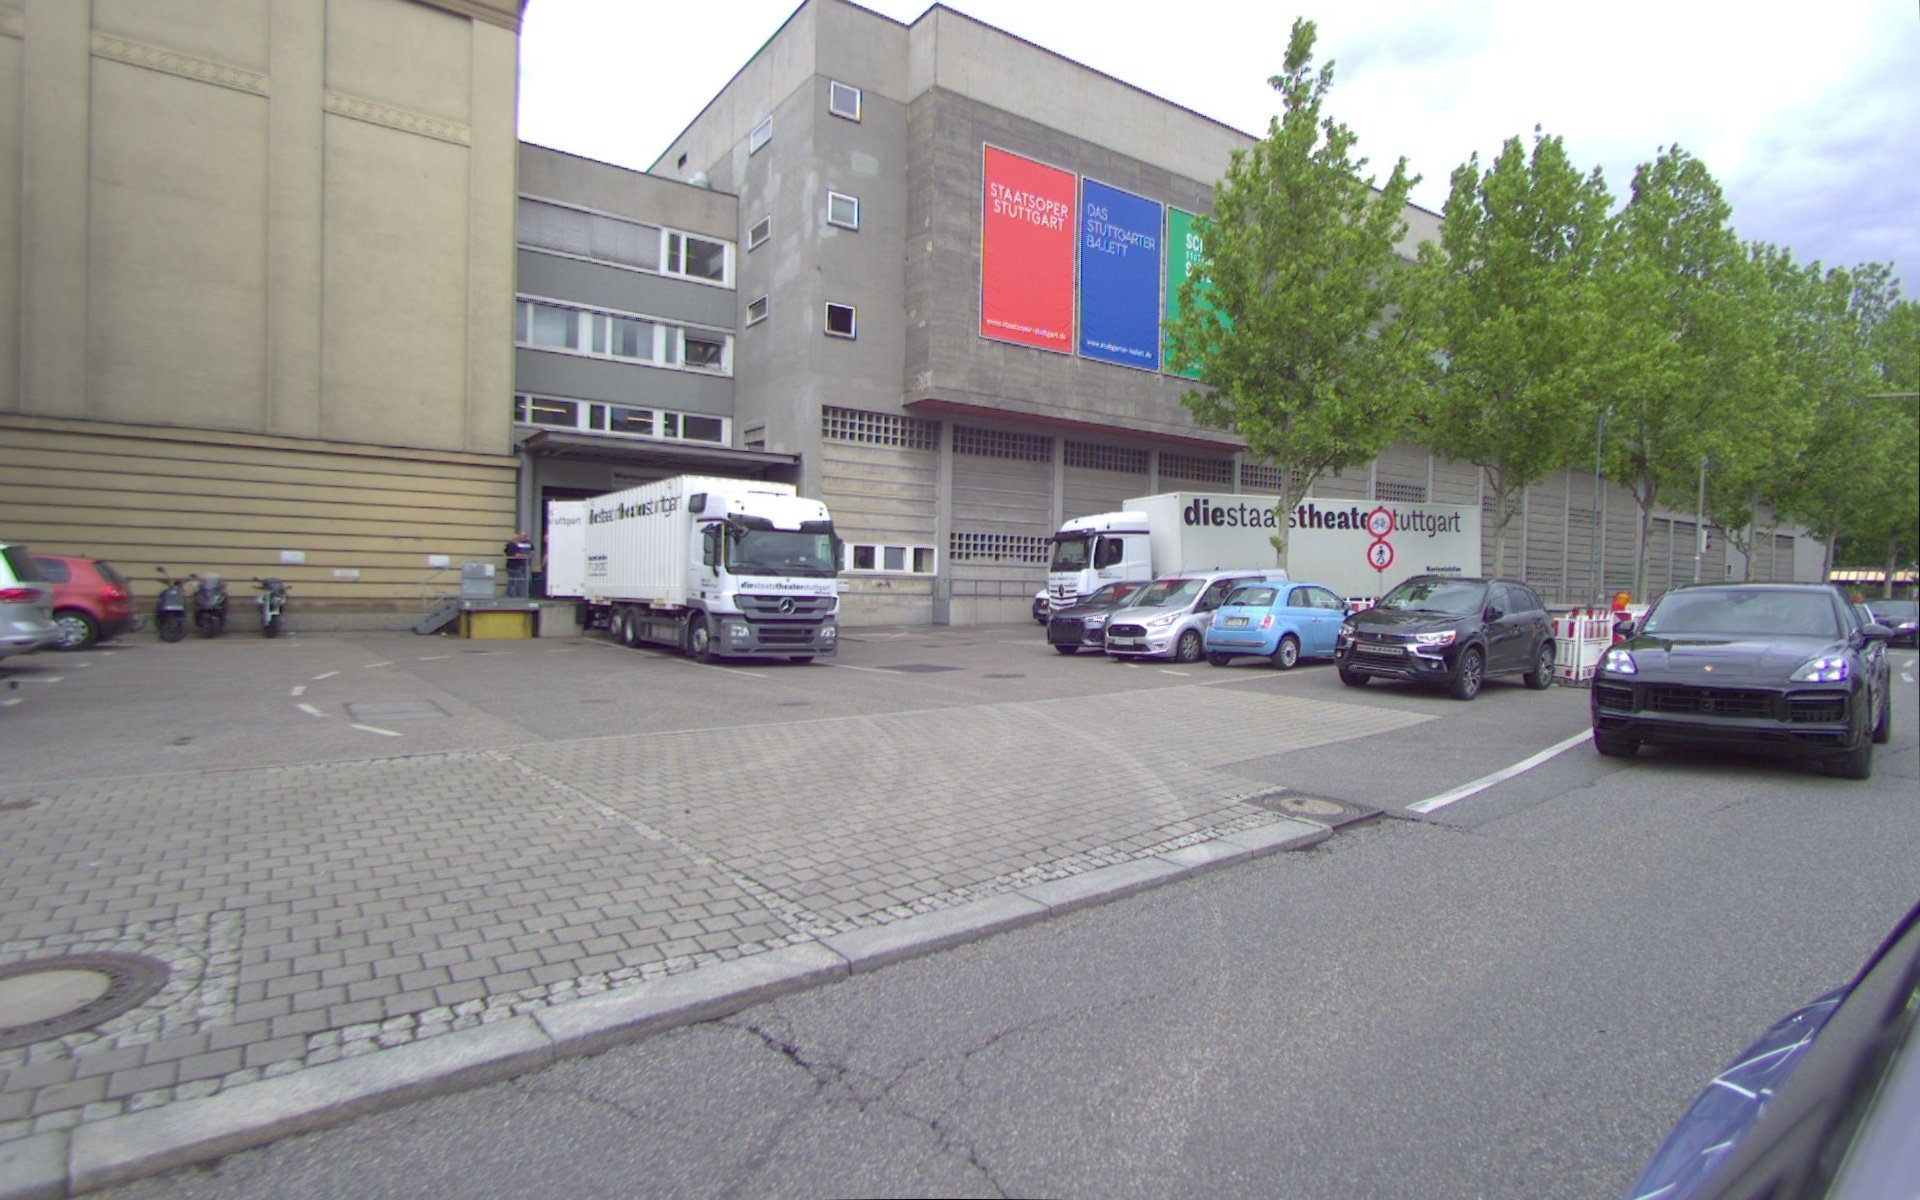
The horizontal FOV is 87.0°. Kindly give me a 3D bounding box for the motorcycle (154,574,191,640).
[{"bbox_3d":[-14.966,0.141,19.254,0.416,1.189,1.608,1,-2,-33],"label":"motorcycle"}]

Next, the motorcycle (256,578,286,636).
[{"bbox_3d":[-16.220,0.144,23.840,0.548,1.304,2.091,1,1,-33],"label":"motorcycle"}]

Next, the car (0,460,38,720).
[{"bbox_3d":[-10.182,-0.101,7.423,4.824,2.095,1.954,1,0,-37],"label":"car"}]

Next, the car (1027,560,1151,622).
[{"bbox_3d":[4.216,-0.288,32.824,3.922,1.905,1.561,0,0,-32],"label":"car"}]

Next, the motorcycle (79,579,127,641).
[{"bbox_3d":[-15.922,0.193,18.824,0.460,1.106,1.794,1,-1,-33],"label":"motorcycle"}]

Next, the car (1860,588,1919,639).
[{"bbox_3d":[29.153,0.384,31.111,3.556,1.492,1.612,0,1,-38],"label":"car"}]

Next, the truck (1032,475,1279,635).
[{"bbox_3d":[5.645,-1.193,29.104,6.440,4.136,3.146,0,0,-28],"label":"truck"}]

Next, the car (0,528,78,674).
[{"bbox_3d":[-12.595,-0.011,11.620,3.549,1.690,1.648,1,0,-37],"label":"car"}]

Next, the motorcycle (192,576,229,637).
[{"bbox_3d":[-17.154,0.120,23.189,0.548,1.337,2.091,1,1,-33],"label":"motorcycle"}]

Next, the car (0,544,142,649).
[{"bbox_3d":[-15.068,-0.063,15.506,3.845,1.553,1.648,1,0,-37],"label":"car"}]

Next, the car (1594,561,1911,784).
[{"bbox_3d":[7.774,0.534,9.777,4.132,1.678,1.904,0,0,-44],"label":"car"}]

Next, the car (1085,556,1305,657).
[{"bbox_3d":[4.772,0.138,20.241,4.536,1.807,1.809,0,-2,-38],"label":"car"}]

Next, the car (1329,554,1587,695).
[{"bbox_3d":[7.379,0.323,14.813,4.406,1.760,1.808,1,0,-41],"label":"car"}]

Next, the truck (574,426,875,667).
[{"bbox_3d":[-5.863,-1.134,22.984,2.942,4.257,10.389,0,2,-35],"label":"truck"}]

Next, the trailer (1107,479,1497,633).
[{"bbox_3d":[11.165,-1.243,31.978,13.689,4.153,3.162,-1,-1,-28],"label":"trailer"}]

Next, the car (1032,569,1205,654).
[{"bbox_3d":[3.526,0.219,22.260,3.692,1.710,1.719,0,0,-38],"label":"car"}]

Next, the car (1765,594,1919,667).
[{"bbox_3d":[18.744,0.578,21.407,3.929,1.393,1.933,0,0,-40],"label":"car"}]

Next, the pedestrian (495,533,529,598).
[{"bbox_3d":[-11.914,-0.911,26.954,0.679,1.716,0.628,-1,-1,-8],"label":"pedestrian"}]

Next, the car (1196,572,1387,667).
[{"bbox_3d":[5.958,0.306,18.069,3.439,1.549,1.584,0,0,-38],"label":"car"}]

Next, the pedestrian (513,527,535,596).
[{"bbox_3d":[-11.955,-1.047,27.751,0.517,1.845,0.764,0,-1,-26],"label":"pedestrian"}]
